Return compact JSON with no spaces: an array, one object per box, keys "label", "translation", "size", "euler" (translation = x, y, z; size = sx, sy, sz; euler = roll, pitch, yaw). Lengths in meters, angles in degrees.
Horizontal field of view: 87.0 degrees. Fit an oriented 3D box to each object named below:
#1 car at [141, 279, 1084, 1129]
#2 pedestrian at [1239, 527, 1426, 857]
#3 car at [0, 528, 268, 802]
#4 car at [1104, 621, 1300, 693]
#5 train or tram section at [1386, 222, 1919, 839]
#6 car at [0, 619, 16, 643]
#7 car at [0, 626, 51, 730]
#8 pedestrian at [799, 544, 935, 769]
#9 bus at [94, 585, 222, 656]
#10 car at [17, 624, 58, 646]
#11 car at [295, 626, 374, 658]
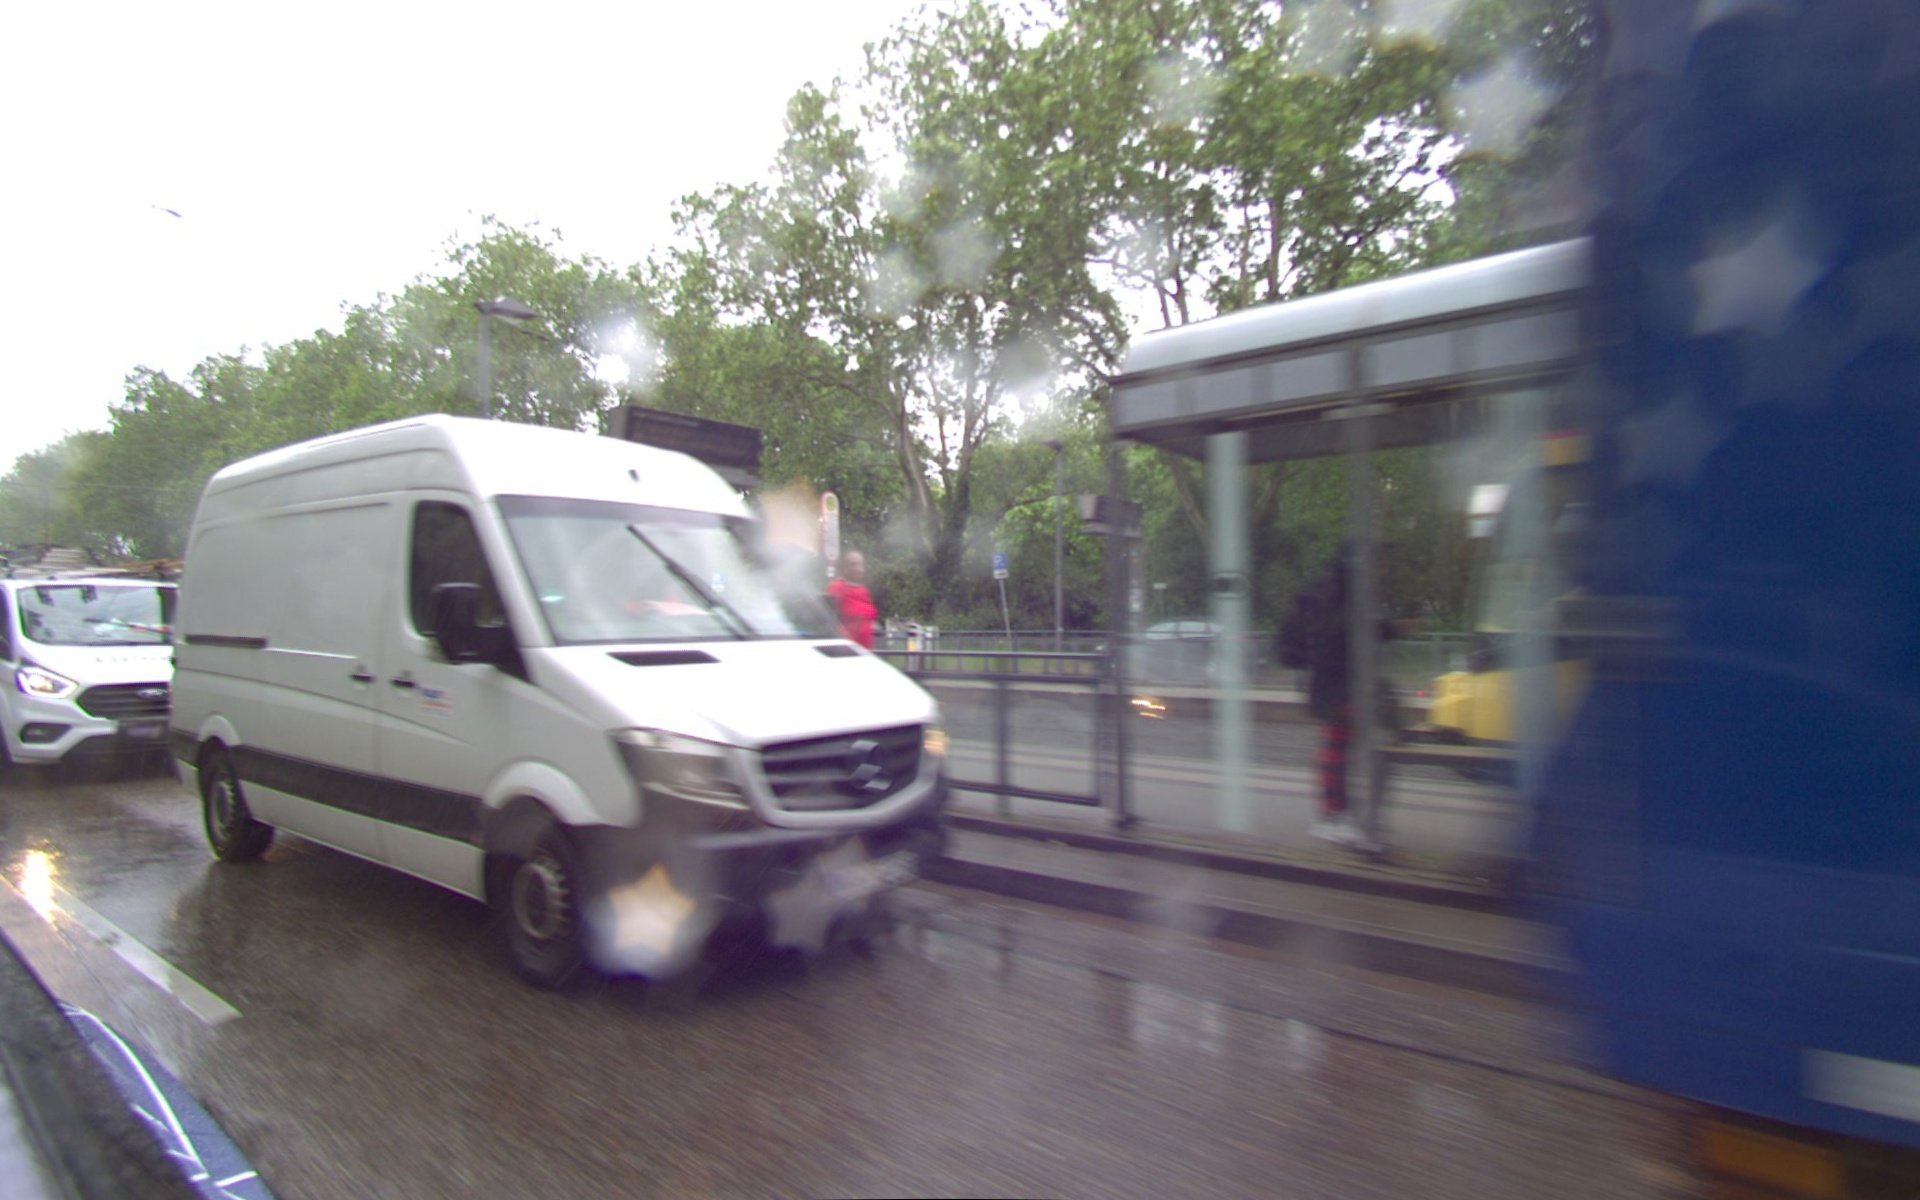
[{"label":"car","translation":[-2.495,0.323,5.894],"size":[6.107,2.576,2.307],"euler":[0,0,39]},{"label":"pedestrian","translation":[1.943,0.452,5.291],"size":[0.773,1.579,0.532],"euler":[-2,-3,37]},{"label":"car","translation":[-9.465,0.547,10.819],"size":[5.282,2.279,1.974],"euler":[0,0,39]},{"label":"car","translation":[5.602,1.291,23.637],"size":[3.995,1.529,1.974],"euler":[-2,-2,39]},{"label":"train or tram section","translation":[7.194,-0.385,5.686],"size":[8.347,3.311,2.933],"euler":[-2,-3,38]},{"label":"car","translation":[-99.770,3.190,104.479],"size":[6.130,2.465,2.307],"euler":[-1,-2,38]},{"label":"car","translation":[-15.957,1.196,16.077],"size":[3.802,1.490,1.708],"euler":[0,-1,39]},{"label":"pedestrian","translation":[-0.758,0.426,8.306],"size":[0.769,1.727,0.783],"euler":[0,1,37]},{"label":"bus","translation":[-47.572,1.170,59.837],"size":[12.226,3.867,3.001],"euler":[-1,0,37]},{"label":"car","translation":[-83.043,3.138,91.045],"size":[4.634,1.876,1.938],"euler":[-1,-3,38]},{"label":"car","translation":[-33.964,2.266,54.916],"size":[4.601,1.670,2.013],"euler":[-1,-3,36]}]
